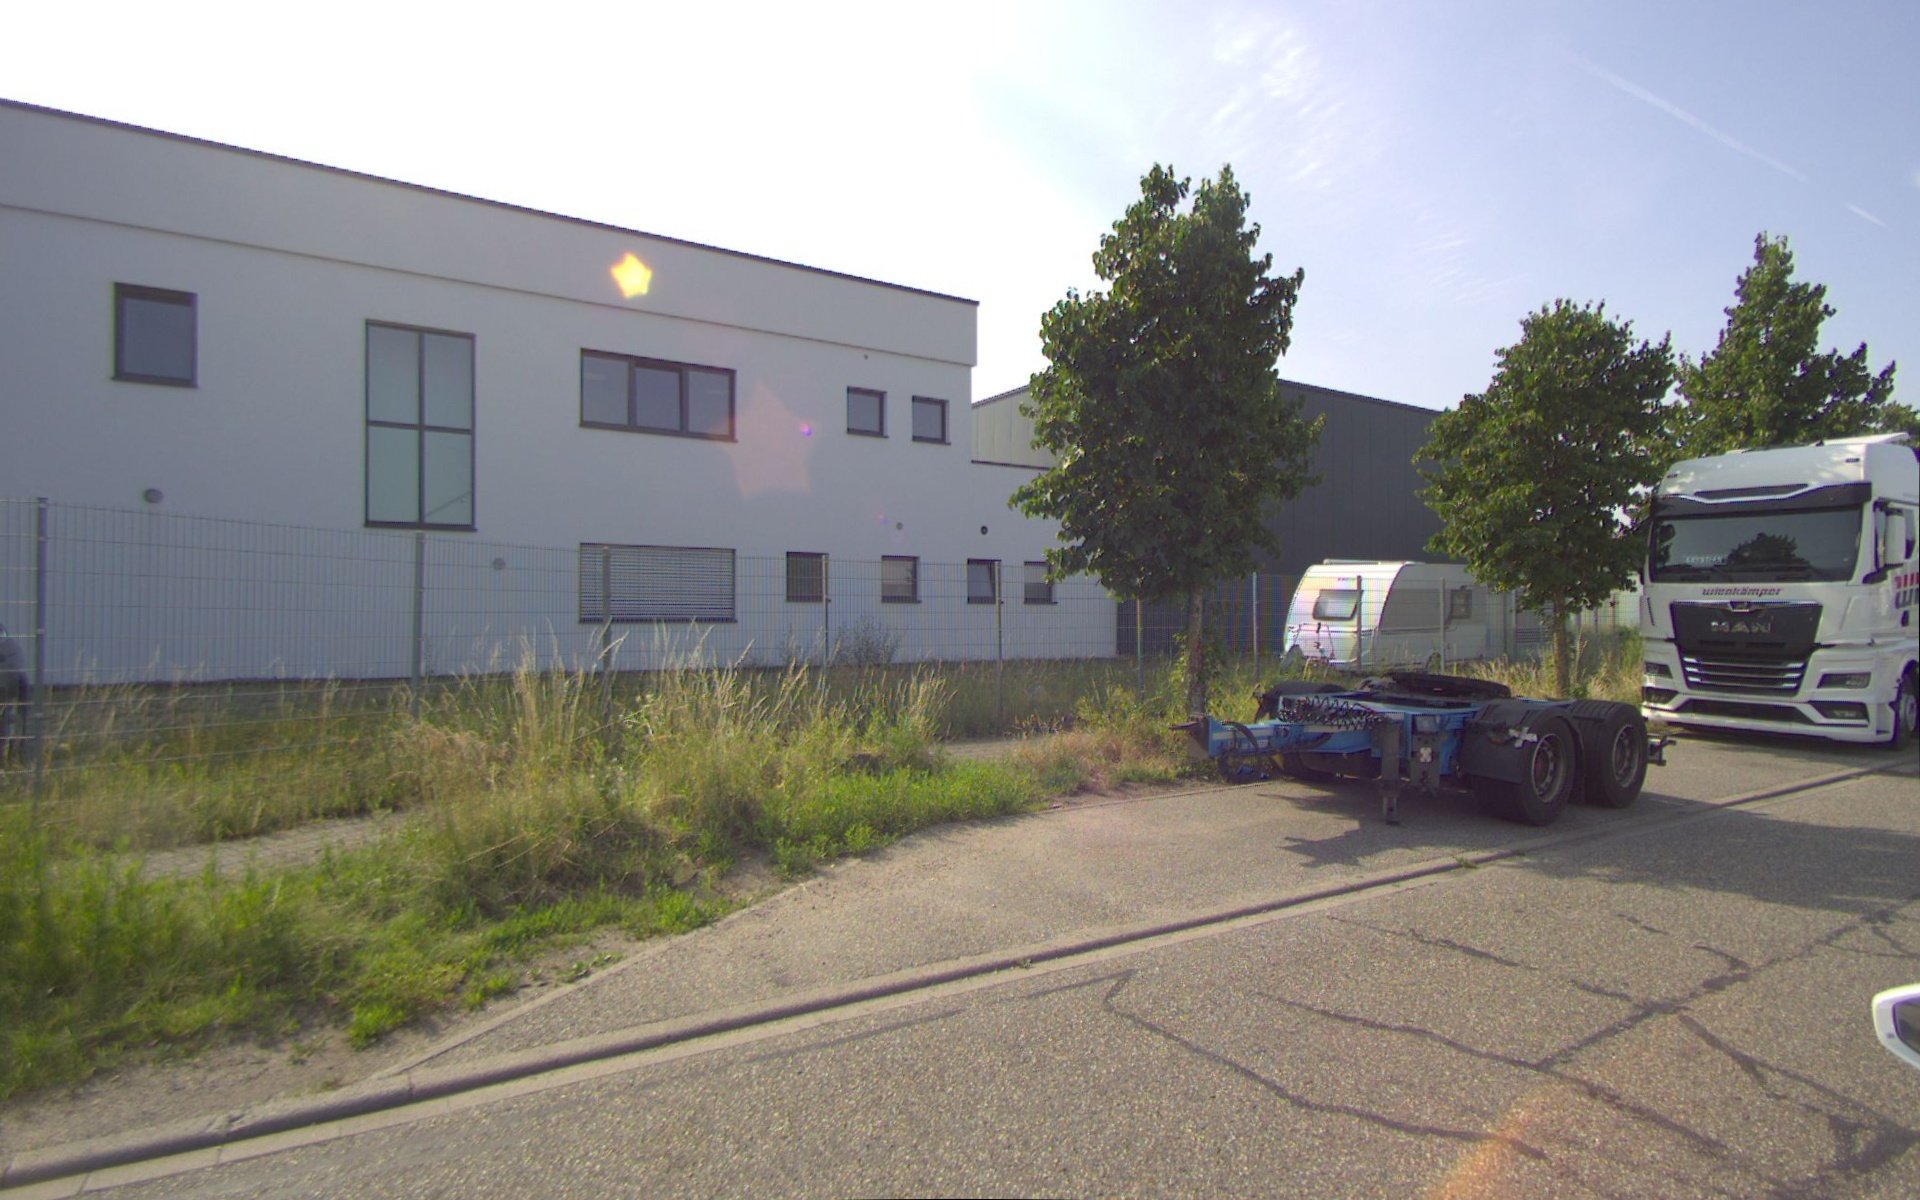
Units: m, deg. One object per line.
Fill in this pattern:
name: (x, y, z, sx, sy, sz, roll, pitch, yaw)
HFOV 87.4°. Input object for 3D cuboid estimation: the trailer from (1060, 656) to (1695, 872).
trailer: (3.650, 1.128, 8.552, 5.145, 1.114, 2.559, 1, -1, -33)

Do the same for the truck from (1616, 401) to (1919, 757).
truck: (14.911, -0.169, 15.703, 12.771, 3.981, 2.612, 0, -1, -32)

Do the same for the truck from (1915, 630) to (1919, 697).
truck: (21.865, 1.202, 20.167, 6.456, 1.282, 2.510, 0, -1, -33)

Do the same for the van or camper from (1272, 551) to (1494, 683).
van or camper: (9.401, 0.382, 22.181, 4.905, 2.594, 2.290, 1, -2, -36)
